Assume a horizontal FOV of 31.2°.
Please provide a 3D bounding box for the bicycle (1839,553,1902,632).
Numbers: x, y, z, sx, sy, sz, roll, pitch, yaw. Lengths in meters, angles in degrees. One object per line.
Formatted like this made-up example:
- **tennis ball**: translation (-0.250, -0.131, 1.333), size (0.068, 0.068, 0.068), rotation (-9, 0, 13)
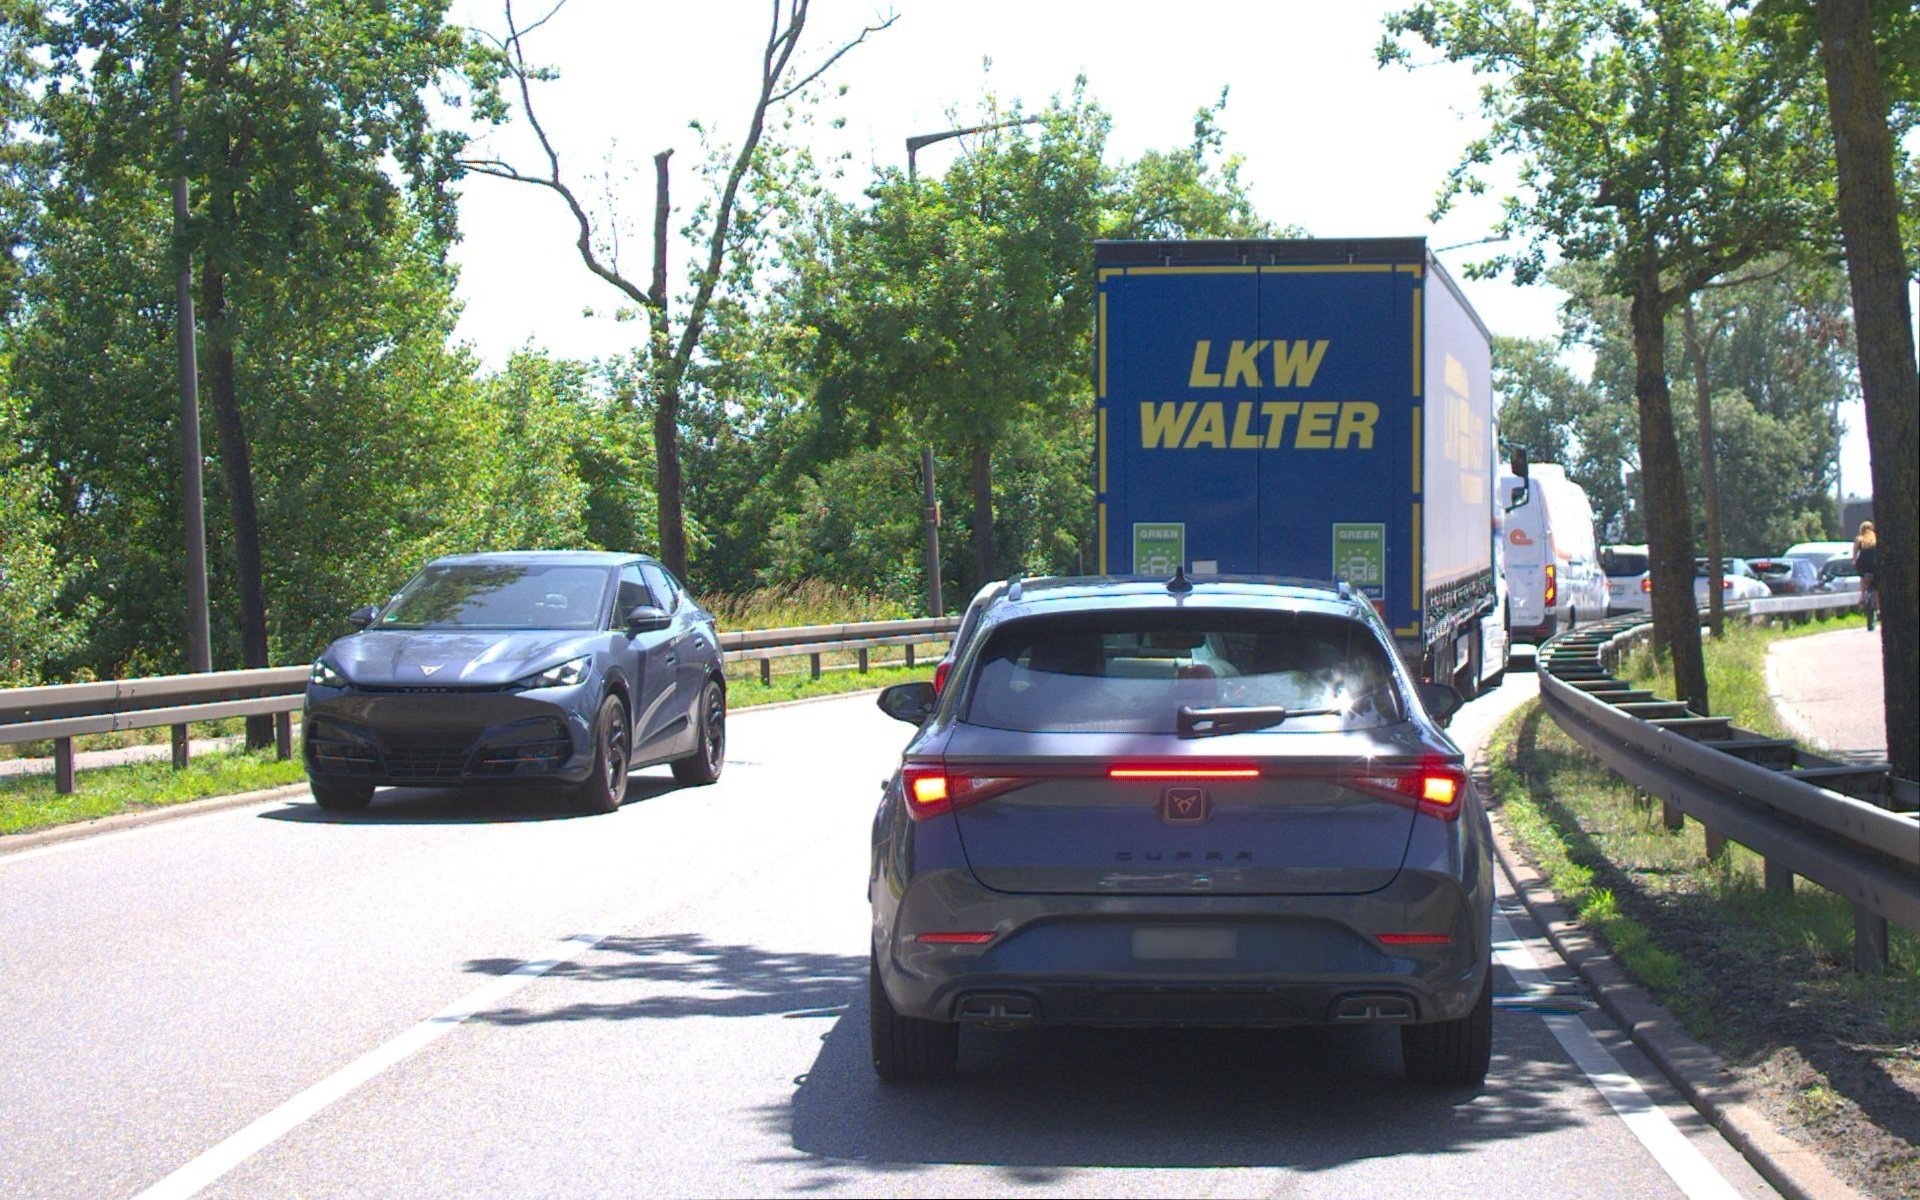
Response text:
- **bicycle**: translation (14.615, -0.134, 55.155), size (0.861, 1.232, 2.308), rotation (0, 1, 17)

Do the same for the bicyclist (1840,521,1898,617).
- **bicyclist**: translation (14.583, -0.495, 55.129), size (0.861, 1.518, 0.979), rotation (0, 0, 17)

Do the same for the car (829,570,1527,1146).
- **car**: translation (0.610, 0.630, 10.587), size (1.744, 1.427, 3.880), rotation (0, 1, 2)

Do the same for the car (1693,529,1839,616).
- **car**: translation (16.550, -0.574, 70.403), size (1.996, 1.711, 4.862), rotation (1, 1, 24)

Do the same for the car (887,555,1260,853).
- **car**: translation (0.748, 0.510, 19.572), size (1.810, 1.503, 3.999), rotation (0, 1, 6)

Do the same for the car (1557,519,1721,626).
- **car**: translation (11.417, -0.468, 57.589), size (1.995, 1.706, 4.615), rotation (1, 1, 20)

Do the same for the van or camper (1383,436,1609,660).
- **van or camper**: translation (7.759, -0.729, 49.186), size (2.468, 2.988, 6.082), rotation (0, 1, 16)

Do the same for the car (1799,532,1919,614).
- **car**: translation (20.183, -0.615, 76.610), size (1.996, 1.762, 4.748), rotation (1, 1, 25)

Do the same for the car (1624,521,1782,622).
- **car**: translation (13.842, -0.536, 63.818), size (1.996, 1.802, 4.840), rotation (1, 1, 23)

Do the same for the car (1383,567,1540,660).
- **car**: translation (9.327, 0.217, 63.676), size (1.871, 1.598, 4.388), rotation (1, 1, 22)

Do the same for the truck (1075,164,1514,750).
- **truck**: translation (3.866, -1.168, 34.522), size (2.951, 4.433, 16.791), rotation (0, 1, 10)

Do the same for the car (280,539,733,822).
- **car**: translation (-2.779, 0.422, 22.112), size (1.869, 1.598, 4.392), rotation (1, 1, 7)
